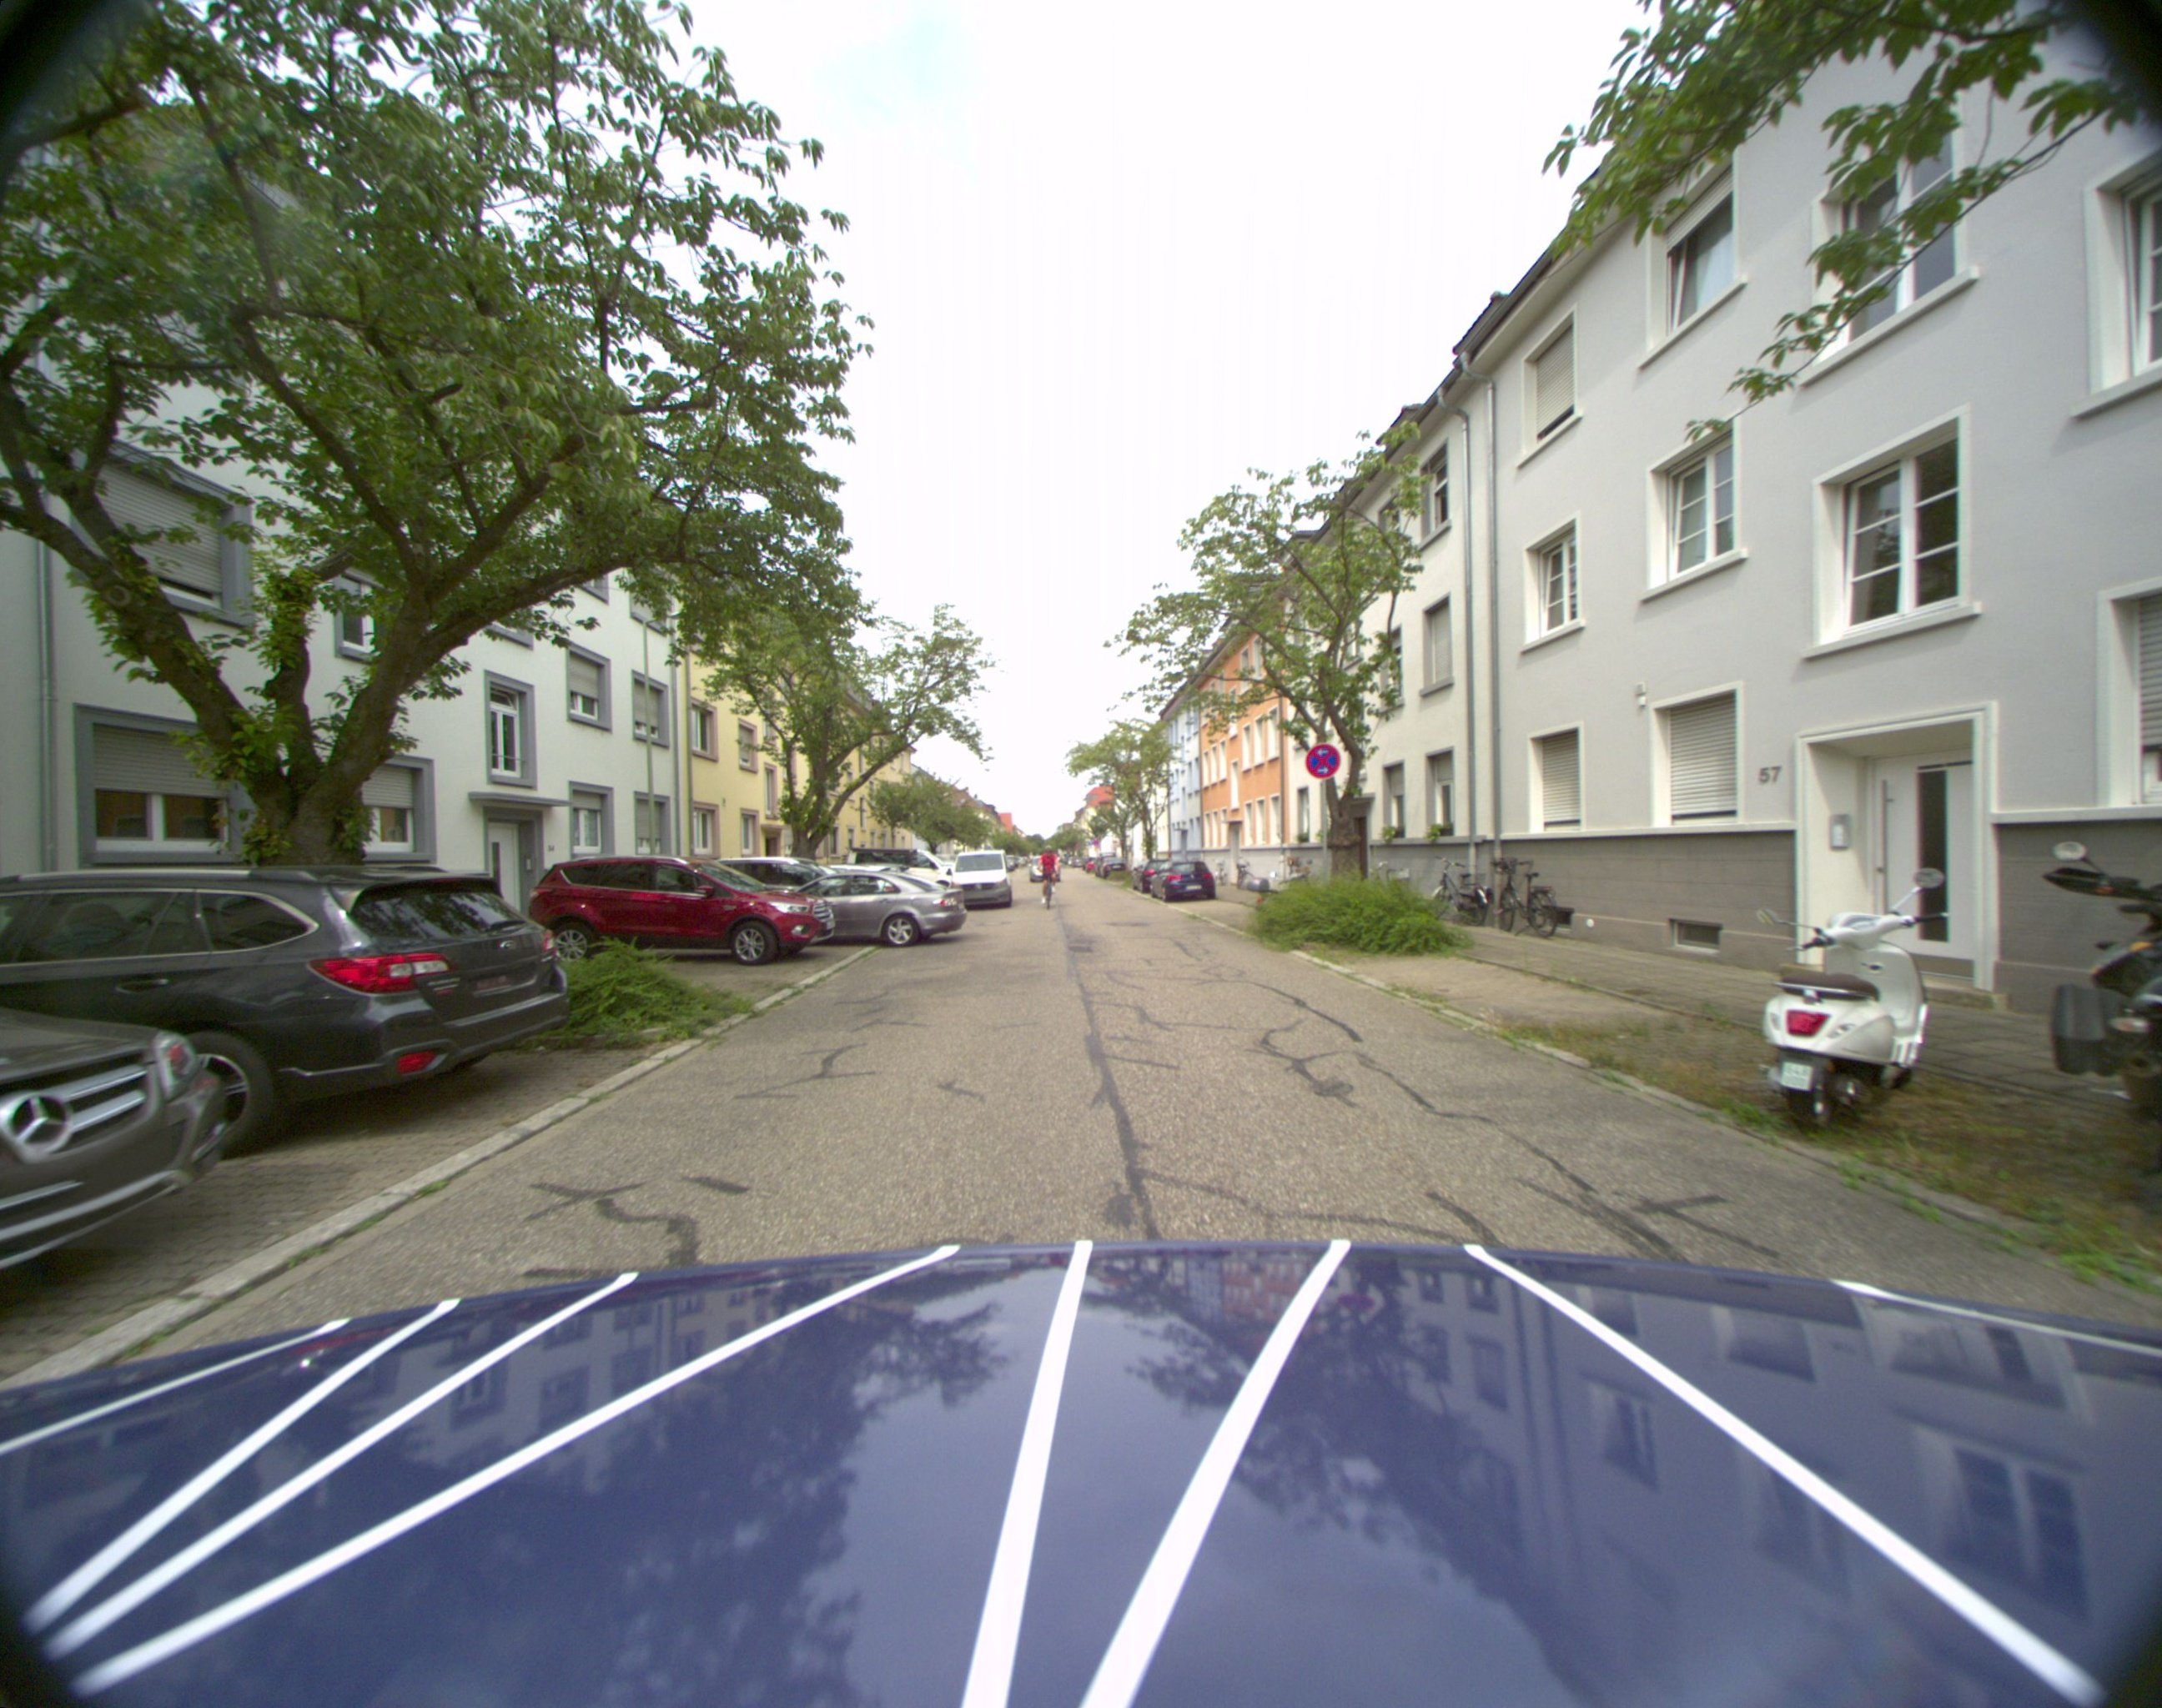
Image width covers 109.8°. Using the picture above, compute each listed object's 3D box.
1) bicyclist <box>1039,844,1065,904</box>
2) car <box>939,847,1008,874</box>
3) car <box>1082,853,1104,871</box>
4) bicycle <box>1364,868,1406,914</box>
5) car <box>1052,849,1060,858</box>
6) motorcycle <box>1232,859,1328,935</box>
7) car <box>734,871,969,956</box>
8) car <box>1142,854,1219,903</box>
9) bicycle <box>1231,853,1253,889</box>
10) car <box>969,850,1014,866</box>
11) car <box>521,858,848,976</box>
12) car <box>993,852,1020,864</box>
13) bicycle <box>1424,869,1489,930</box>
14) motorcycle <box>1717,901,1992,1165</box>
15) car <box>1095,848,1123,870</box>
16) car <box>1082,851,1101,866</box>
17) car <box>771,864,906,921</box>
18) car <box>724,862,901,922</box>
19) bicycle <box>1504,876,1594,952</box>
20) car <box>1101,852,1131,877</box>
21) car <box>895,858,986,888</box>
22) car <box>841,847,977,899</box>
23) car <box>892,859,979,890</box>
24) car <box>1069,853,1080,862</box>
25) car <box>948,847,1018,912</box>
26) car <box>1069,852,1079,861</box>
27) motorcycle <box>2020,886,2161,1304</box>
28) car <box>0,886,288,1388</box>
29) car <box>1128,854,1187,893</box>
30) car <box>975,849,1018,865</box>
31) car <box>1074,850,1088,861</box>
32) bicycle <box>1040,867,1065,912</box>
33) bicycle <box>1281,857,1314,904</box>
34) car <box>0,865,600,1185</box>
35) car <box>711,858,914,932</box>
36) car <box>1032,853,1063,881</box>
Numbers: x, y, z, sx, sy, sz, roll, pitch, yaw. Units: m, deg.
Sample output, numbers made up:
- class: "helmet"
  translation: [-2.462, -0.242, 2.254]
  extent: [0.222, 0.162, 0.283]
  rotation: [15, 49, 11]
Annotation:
- class: "bicyclist"
  translation: [-0.885, 0.595, 23.170]
  extent: [0.694, 1.760, 0.986]
  rotation: [-2, 1, -3]
- class: "car"
  translation: [-7.699, 0.447, 54.853]
  extent: [4.751, 1.899, 1.850]
  rotation: [1, 1, -3]
- class: "car"
  translation: [1.103, 0.702, 72.222]
  extent: [1.712, 1.591, 4.114]
  rotation: [1, 1, -4]
- class: "bicycle"
  translation: [6.793, 0.805, 17.020]
  extent: [0.310, 0.961, 1.434]
  rotation: [1, 1, -1]
- class: "car"
  translation: [-5.840, -0.073, 174.035]
  extent: [1.757, 2.098, 3.620]
  rotation: [1, 1, -2]
- class: "motorcycle"
  translation: [3.968, 0.808, 15.067]
  extent: [2.022, 1.399, 0.790]
  rotation: [0, 1, -40]
- class: "car"
  translation: [-4.260, 1.094, 14.601]
  extent: [3.998, 1.446, 1.766]
  rotation: [1, 1, -3]
- class: "car"
  translation: [3.471, 0.804, 27.279]
  extent: [1.841, 1.475, 4.118]
  rotation: [-4, 1, -4]
- class: "bicycle"
  translation: [6.222, 0.631, 29.394]
  extent: [0.430, 1.326, 1.811]
  rotation: [1, 1, -1]
- class: "car"
  translation: [-9.152, 0.412, 77.771]
  extent: [4.404, 1.527, 1.870]
  rotation: [1, 1, -3]
- class: "car"
  translation: [-6.144, 0.939, 12.178]
  extent: [4.225, 1.668, 1.903]
  rotation: [1, 1, 0]
- class: "car"
  translation: [-9.870, 0.482, 100.830]
  extent: [3.442, 1.438, 1.646]
  rotation: [-2, 0, -6]
- class: "bicycle"
  translation: [6.850, 0.806, 13.927]
  extent: [0.421, 1.001, 1.434]
  rotation: [1, 1, -1]
- class: "motorcycle"
  translation: [4.482, 0.908, 4.368]
  extent: [1.915, 1.185, 0.595]
  rotation: [0, 1, -29]
- class: "car"
  translation: [2.128, 0.342, 59.268]
  extent: [1.697, 1.573, 4.247]
  rotation: [-2, 1, -4]
- class: "car"
  translation: [1.112, 0.443, 80.914]
  extent: [1.712, 1.477, 3.441]
  rotation: [1, 1, -4]
- class: "car"
  translation: [-7.199, 1.123, 22.833]
  extent: [3.488, 1.565, 1.814]
  rotation: [1, 1, -3]
- class: "car"
  translation: [-6.838, 0.958, 19.623]
  extent: [3.998, 1.412, 1.637]
  rotation: [1, 1, -3]
- class: "bicycle"
  translation: [6.959, 0.861, 11.370]
  extent: [0.421, 1.001, 1.434]
  rotation: [1, 1, -1]
- class: "car"
  translation: [2.418, 0.678, 52.765]
  extent: [1.706, 1.533, 4.248]
  rotation: [-3, 1, -2]
- class: "car"
  translation: [-7.408, 0.979, 40.473]
  extent: [4.560, 1.501, 1.849]
  rotation: [1, 1, -5]
- class: "car"
  translation: [-6.932, 0.756, 31.154]
  extent: [5.245, 2.011, 2.072]
  rotation: [1, 1, -7]
- class: "car"
  translation: [-7.239, 1.014, 38.075]
  extent: [4.104, 1.406, 1.849]
  rotation: [1, 1, -4]
- class: "car"
  translation: [-1.103, 0.538, 130.010]
  extent: [1.711, 1.495, 3.442]
  rotation: [1, 1, -2]
- class: "car"
  translation: [-3.167, 0.750, 25.500]
  extent: [1.999, 1.904, 4.701]
  rotation: [-3, 1, -4]
- class: "car"
  translation: [-1.257, 0.483, 137.849]
  extent: [1.626, 1.495, 3.442]
  rotation: [1, 1, -2]
- class: "motorcycle"
  translation: [4.905, 0.908, 3.320]
  extent: [2.242, 1.473, 0.595]
  rotation: [0, 1, -29]
- class: "car"
  translation: [-5.650, 0.934, 2.337]
  extent: [4.227, 1.588, 1.903]
  rotation: [1, 1, -5]
- class: "car"
  translation: [3.287, 0.803, 33.364]
  extent: [1.841, 1.475, 4.091]
  rotation: [-3, 1, -4]
- class: "car"
  translation: [-9.525, 0.342, 86.149]
  extent: [4.721, 1.817, 1.870]
  rotation: [1, 1, -3]
- class: "car"
  translation: [-0.022, 0.236, 101.225]
  extent: [1.712, 1.438, 3.441]
  rotation: [1, 1, -4]
- class: "bicycle"
  translation: [-0.882, 1.060, 23.255]
  extent: [0.693, 1.220, 1.936]
  rotation: [-2, 1, -3]
- class: "bicycle"
  translation: [6.551, 0.781, 23.027]
  extent: [0.430, 1.326, 1.811]
  rotation: [1, 1, -1]
- class: "car"
  translation: [-5.810, 0.908, 4.849]
  extent: [4.227, 1.588, 1.903]
  rotation: [1, 1, -5]
- class: "car"
  translation: [-5.933, 0.890, 17.110]
  extent: [3.998, 1.527, 1.637]
  rotation: [1, 1, -3]
- class: "car"
  translation: [-2.126, 0.768, 47.341]
  extent: [1.789, 1.595, 4.834]
  rotation: [-1, 1, -3]
